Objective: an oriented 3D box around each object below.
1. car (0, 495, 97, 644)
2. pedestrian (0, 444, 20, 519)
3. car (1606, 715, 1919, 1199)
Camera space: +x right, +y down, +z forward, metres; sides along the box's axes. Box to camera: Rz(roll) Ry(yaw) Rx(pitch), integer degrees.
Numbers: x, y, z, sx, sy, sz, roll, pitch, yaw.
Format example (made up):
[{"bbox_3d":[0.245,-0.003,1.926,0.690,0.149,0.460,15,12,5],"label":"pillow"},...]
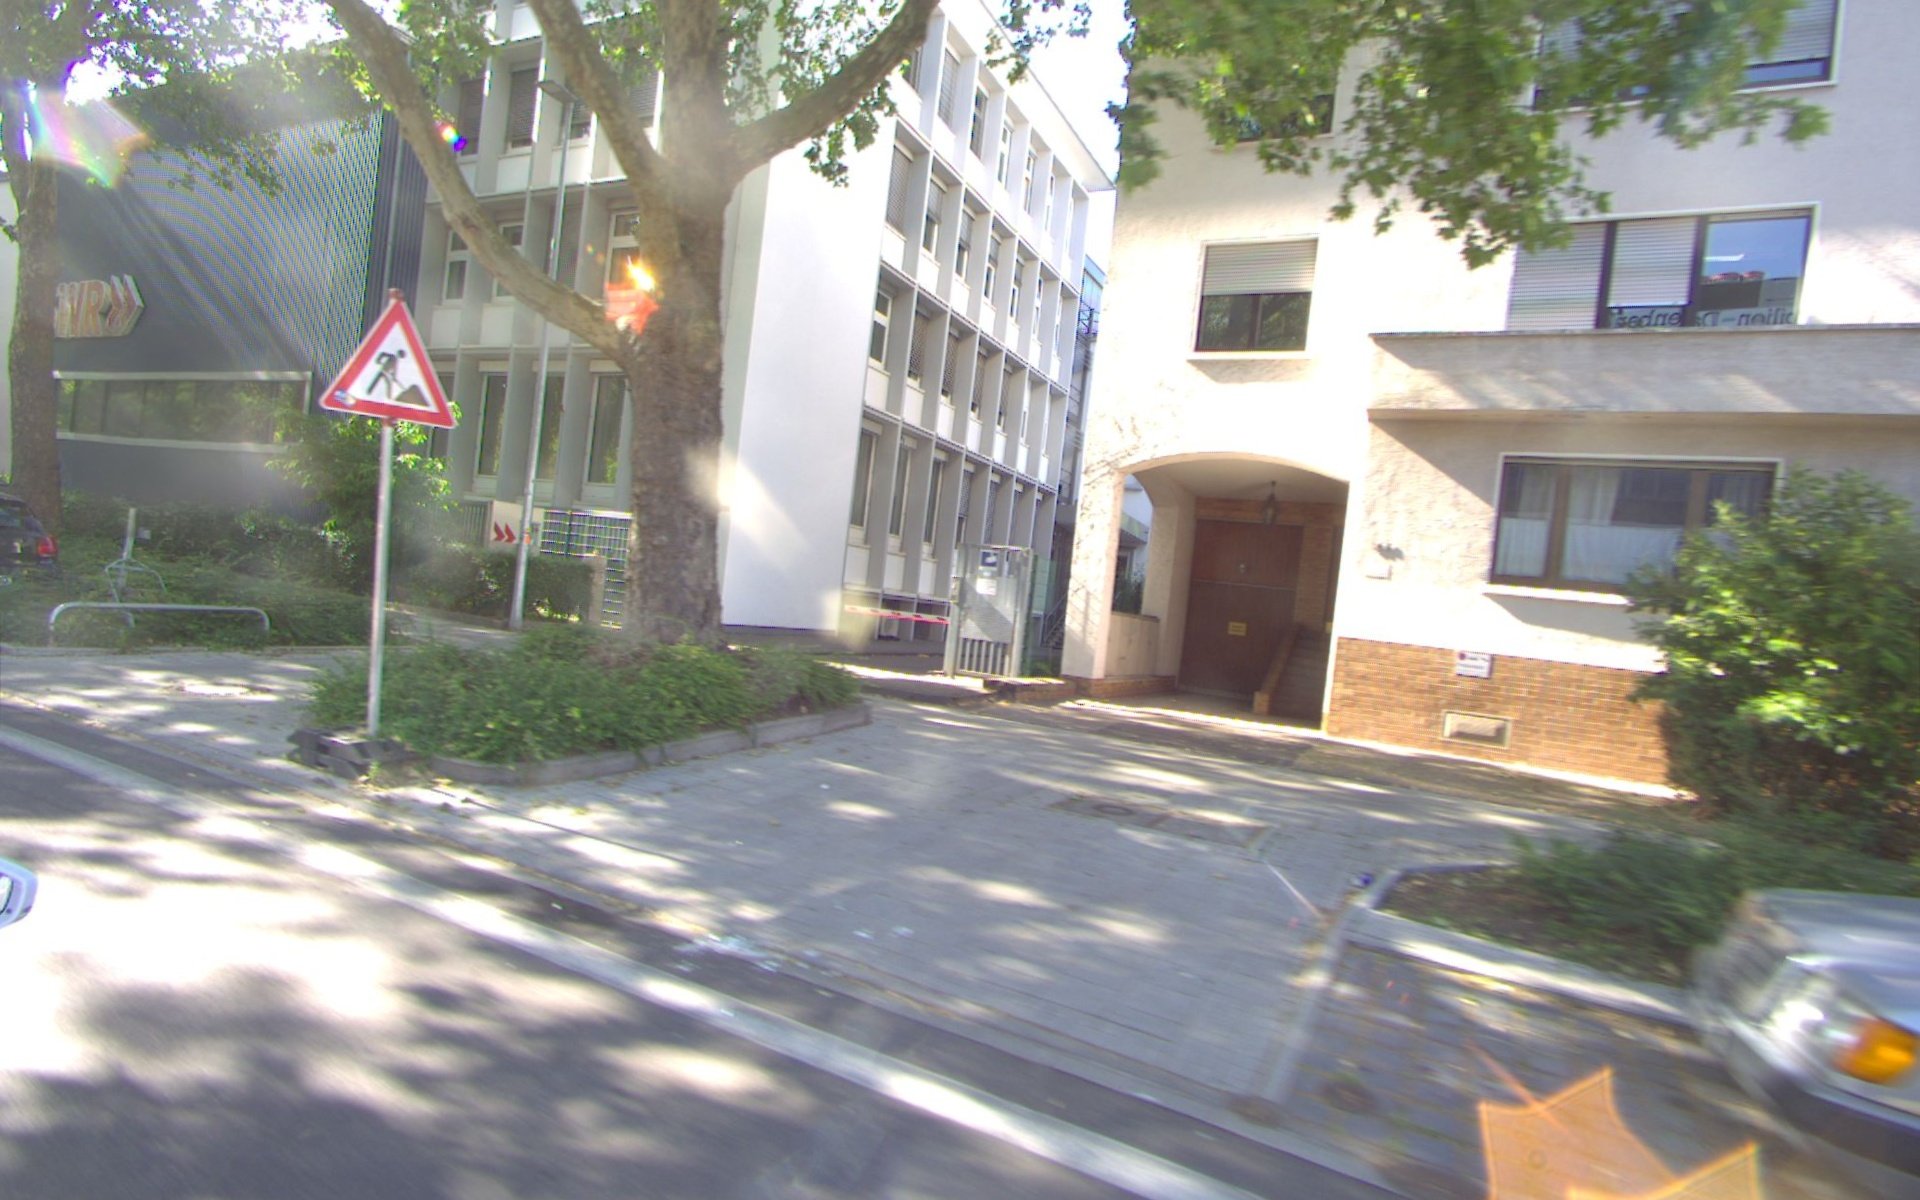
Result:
[{"bbox_3d":[-11.891,-0.548,11.321,4.176,1.526,1.768,7,-1,27],"label":"car"},{"bbox_3d":[-22.162,-2.769,22.899,0.663,1.668,0.708,10,-1,24],"label":"pedestrian"},{"bbox_3d":[4.712,1.436,2.529,4.854,1.497,1.857,7,-1,26],"label":"car"}]
